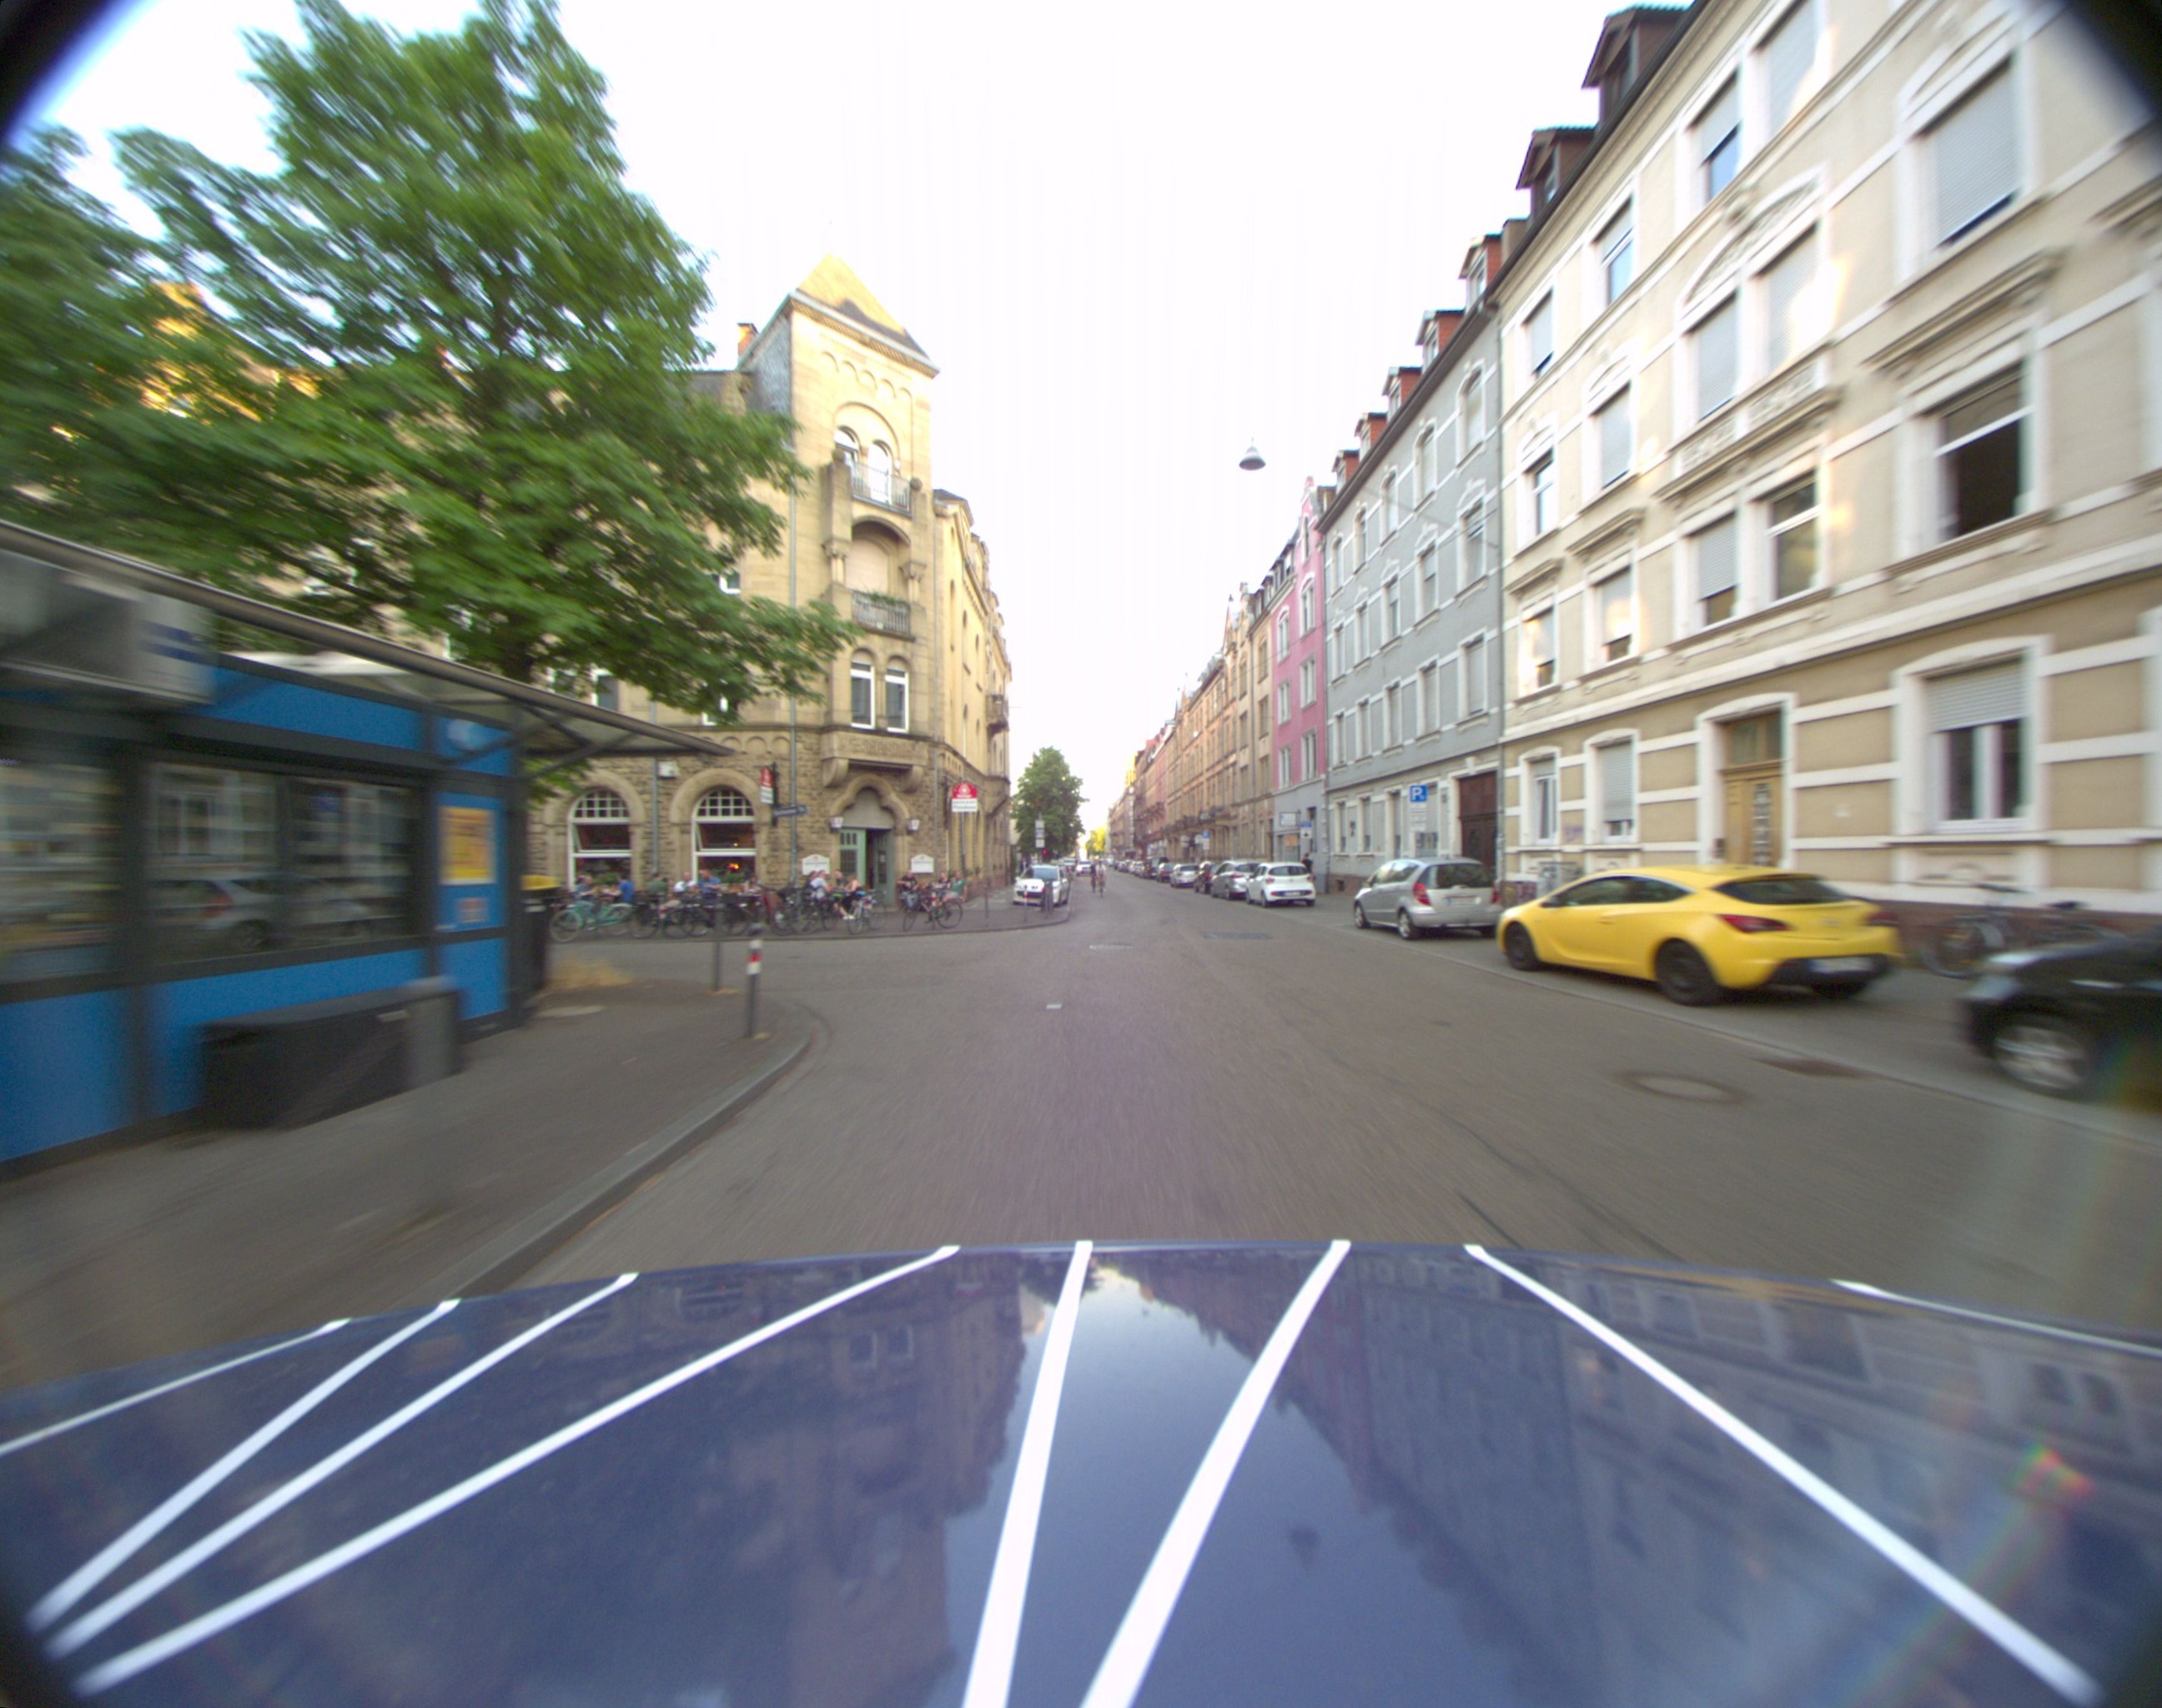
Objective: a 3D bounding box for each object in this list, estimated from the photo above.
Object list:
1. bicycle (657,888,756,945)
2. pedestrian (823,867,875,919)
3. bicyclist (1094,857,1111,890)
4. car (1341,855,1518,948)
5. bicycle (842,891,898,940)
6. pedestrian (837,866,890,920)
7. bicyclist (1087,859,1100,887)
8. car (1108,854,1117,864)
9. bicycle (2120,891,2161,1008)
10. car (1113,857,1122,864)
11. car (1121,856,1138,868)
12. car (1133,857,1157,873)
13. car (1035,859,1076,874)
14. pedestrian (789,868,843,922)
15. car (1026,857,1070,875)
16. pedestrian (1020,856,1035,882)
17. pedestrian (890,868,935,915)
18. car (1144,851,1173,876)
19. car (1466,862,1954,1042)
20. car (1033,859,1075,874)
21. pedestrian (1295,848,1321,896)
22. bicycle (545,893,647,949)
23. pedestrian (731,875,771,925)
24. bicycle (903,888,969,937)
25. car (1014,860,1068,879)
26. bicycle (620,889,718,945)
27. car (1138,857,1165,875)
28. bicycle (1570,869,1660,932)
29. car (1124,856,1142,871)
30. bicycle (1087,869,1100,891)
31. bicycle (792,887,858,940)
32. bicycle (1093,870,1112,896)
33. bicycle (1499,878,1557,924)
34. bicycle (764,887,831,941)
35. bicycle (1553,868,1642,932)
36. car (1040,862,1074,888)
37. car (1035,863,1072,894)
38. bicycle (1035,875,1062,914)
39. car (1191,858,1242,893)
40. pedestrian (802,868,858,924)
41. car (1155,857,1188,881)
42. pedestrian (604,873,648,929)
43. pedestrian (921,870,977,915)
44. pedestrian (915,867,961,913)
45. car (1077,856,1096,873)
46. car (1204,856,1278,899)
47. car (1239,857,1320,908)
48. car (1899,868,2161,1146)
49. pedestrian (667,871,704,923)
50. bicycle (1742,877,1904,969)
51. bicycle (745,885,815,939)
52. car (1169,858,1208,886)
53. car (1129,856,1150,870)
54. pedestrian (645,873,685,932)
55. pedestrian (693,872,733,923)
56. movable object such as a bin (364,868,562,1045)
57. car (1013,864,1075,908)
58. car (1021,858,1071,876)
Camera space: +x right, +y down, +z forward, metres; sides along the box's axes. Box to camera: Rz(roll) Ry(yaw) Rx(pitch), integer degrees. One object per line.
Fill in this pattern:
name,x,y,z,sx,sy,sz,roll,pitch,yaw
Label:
bicycle,-8.156,1.351,16.610,1.835,1.144,0.557,-1,0,-14
pedestrian,-6.583,1.084,21.565,0.839,1.389,1.106,1,2,41
bicyclist,1.026,0.915,35.609,0.685,1.503,0.973,-1,0,6
car,6.989,0.860,15.767,1.804,1.583,4.145,-3,0,2
bicycle,-4.747,1.362,17.222,0.447,0.974,1.707,-1,0,13
pedestrian,-6.048,1.070,21.106,0.839,1.389,1.106,1,2,41
bicyclist,0.694,1.025,42.068,0.686,1.503,0.973,-1,0,0
car,7.568,1.180,181.718,1.757,2.264,4.057,-6,0,1
bicycle,10.280,0.879,6.347,0.663,1.064,1.834,-1,0,-2
car,8.287,1.488,172.057,1.757,1.426,4.057,-6,0,1
car,6.590,1.101,104.098,1.758,1.426,4.056,-6,0,-3
car,6.592,1.130,78.722,1.758,1.466,4.056,-6,0,-3
car,-2.653,1.277,80.930,4.301,1.519,1.823,-1,0,-1
pedestrian,-7.251,1.094,20.791,0.839,1.389,1.106,1,2,41
car,-3.290,1.189,75.802,4.301,1.666,1.823,-1,0,-1
pedestrian,-3.575,0.999,50.581,0.851,1.756,0.834,0,0,4
pedestrian,-5.055,1.105,22.785,0.899,1.388,1.009,1,-1,-42
car,6.710,0.819,65.965,1.874,1.949,4.292,-4,0,-1
car,6.954,0.912,9.317,1.844,1.517,4.801,-3,0,-2
car,-2.762,1.281,78.620,4.301,1.527,1.823,-1,0,-1
pedestrian,9.340,0.725,31.236,0.851,1.937,0.834,-1,0,4
bicycle,-10.816,1.467,17.009,0.589,1.071,1.838,-1,0,31
pedestrian,-8.740,1.205,20.148,0.706,1.275,0.877,-1,0,-4
bicycle,-3.384,1.342,17.829,1.478,1.033,0.431,-1,1,-41
car,-3.222,1.266,61.867,4.301,1.443,1.823,-1,0,-1
bicycle,-9.168,1.393,16.972,1.835,1.154,0.538,-1,0,-14
car,6.561,1.125,71.124,1.758,1.466,4.056,-6,0,-3
bicycle,10.370,0.871,14.826,0.481,1.133,1.864,-1,0,1
car,6.705,1.247,98.088,1.758,1.663,4.056,-6,0,-3
bicycle,0.696,1.427,41.904,0.686,1.144,2.115,-1,0,0
bicycle,-5.809,1.332,17.331,0.512,1.060,1.836,-1,0,13
bicycle,1.026,1.326,35.564,0.685,1.144,2.116,-1,0,6
bicycle,10.367,1.064,17.654,0.401,0.971,1.465,2,0,-2
bicycle,-6.355,1.329,17.136,0.475,1.064,1.836,-1,0,13
bicycle,10.028,0.863,14.830,0.481,1.133,1.864,-1,0,1
car,-1.387,1.218,45.543,1.768,1.476,4.557,1,0,1
car,-1.379,1.225,39.589,1.768,1.476,4.556,1,0,-1
bicycle,-1.034,1.279,24.469,0.686,1.144,2.115,2,0,1
car,6.712,1.026,37.911,1.757,1.583,4.057,-3,0,0
pedestrian,-6.713,1.095,20.334,0.839,1.389,1.106,1,2,41
car,6.693,1.084,56.406,1.757,1.466,4.279,-6,0,0
pedestrian,-11.912,1.220,19.904,0.617,1.389,0.771,-1,2,4
pedestrian,-3.979,1.151,22.938,1.422,1.278,0.839,0,1,-43
pedestrian,-4.438,1.102,23.668,0.839,1.388,1.106,1,0,33
car,0.602,1.107,84.428,1.957,1.729,4.284,-3,0,0
car,6.571,0.931,31.692,1.838,1.583,4.672,-3,0,-2
car,6.840,0.935,26.531,1.757,1.567,3.927,-3,0,0
car,7.005,0.877,3.767,1.734,1.482,3.741,-3,0,-4
pedestrian,-10.571,1.146,20.338,0.592,1.350,0.737,-1,0,-3
bicycle,10.340,0.920,10.685,0.481,1.133,1.864,-1,0,1
bicycle,-6.843,1.294,17.377,0.502,1.105,1.836,-1,0,13
car,6.649,1.083,47.332,1.757,1.466,4.057,-6,0,1
car,6.753,1.064,87.773,1.758,1.426,4.056,-6,0,-3
pedestrian,-10.454,1.203,19.120,0.715,1.396,0.793,-1,0,-16
pedestrian,-9.844,1.158,20.331,0.731,1.313,0.667,-1,0,-3
movable object such as a bin,-5.673,0.892,7.015,1.224,1.467,0.766,2,1,9
car,-1.329,1.147,28.963,1.767,1.476,4.465,2,0,4
car,-3.108,1.141,68.066,4.301,1.519,1.823,-1,0,-1
